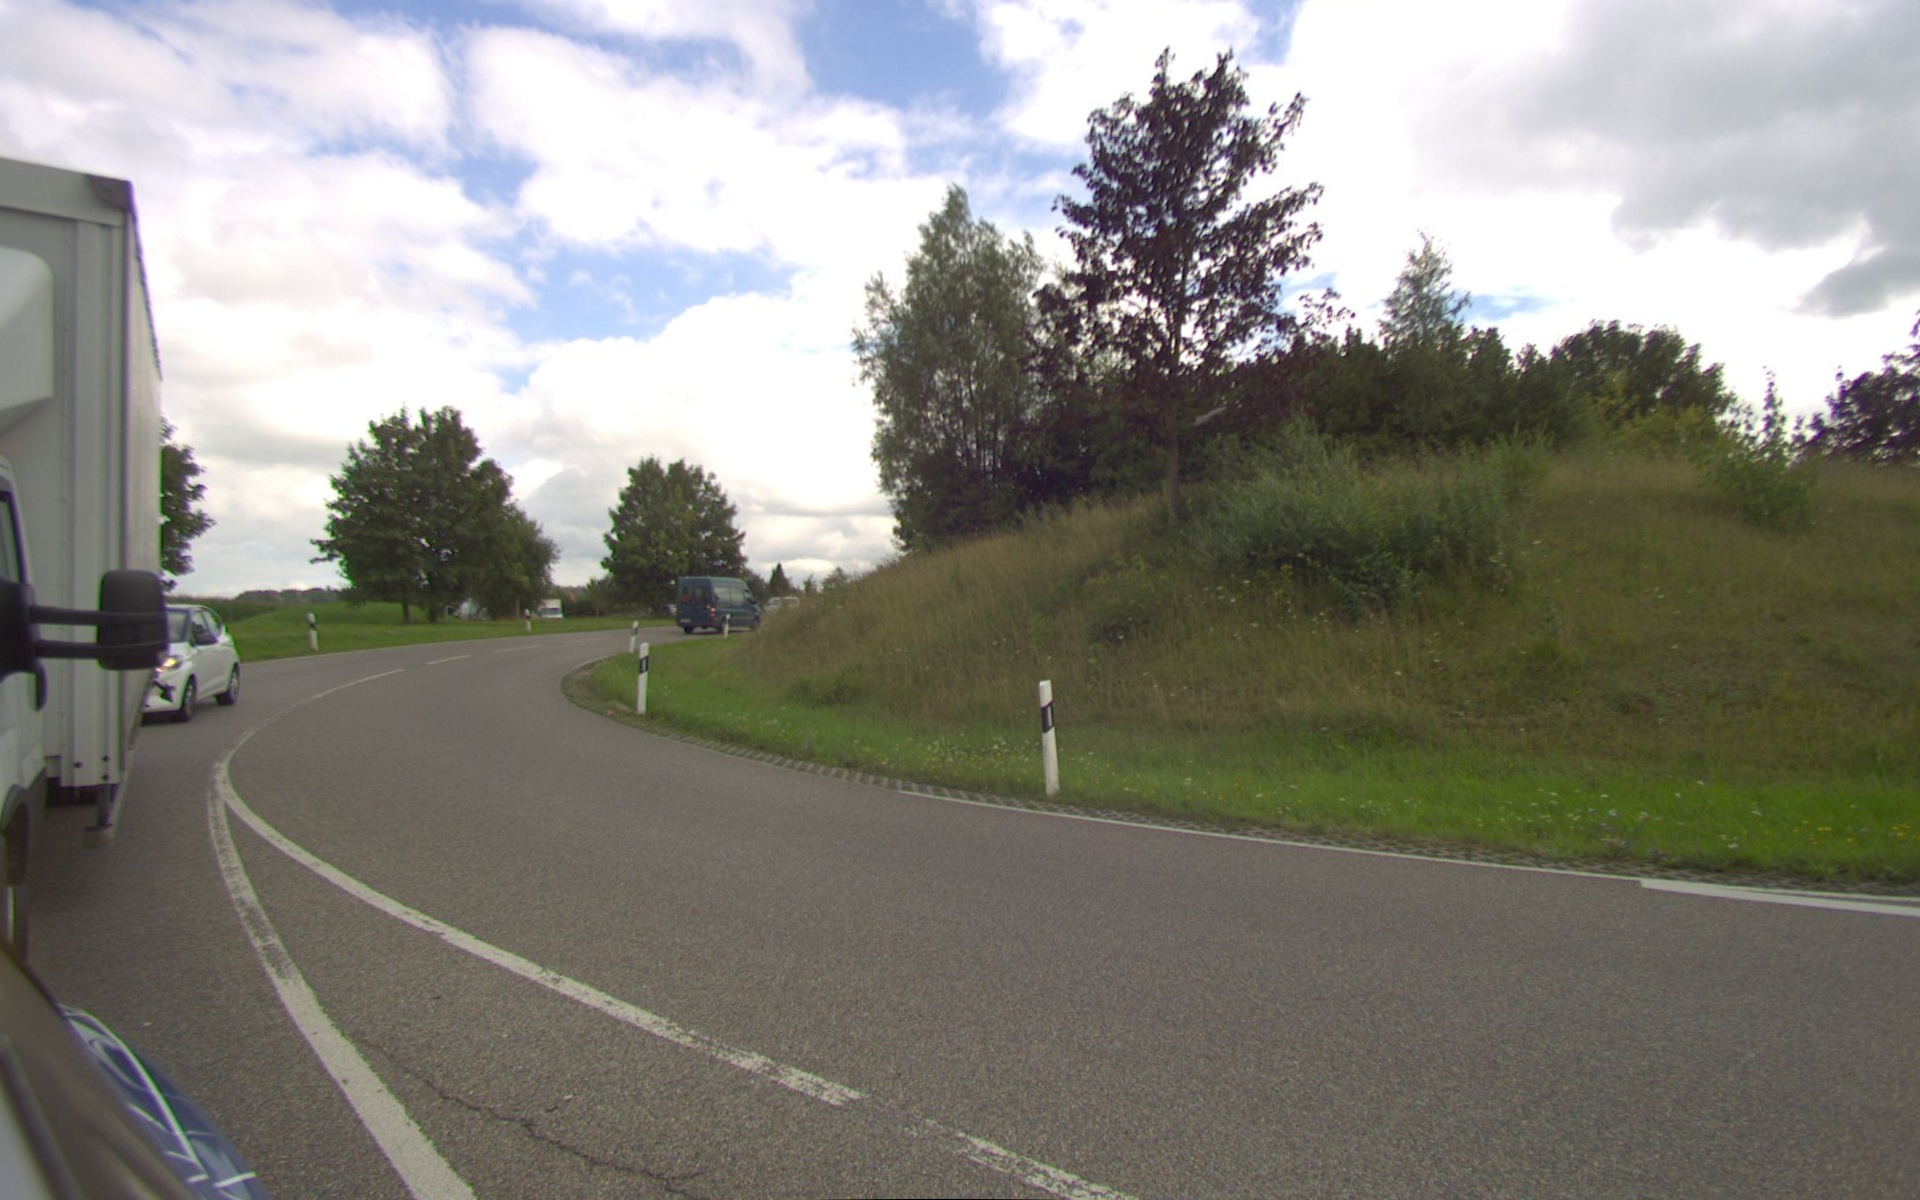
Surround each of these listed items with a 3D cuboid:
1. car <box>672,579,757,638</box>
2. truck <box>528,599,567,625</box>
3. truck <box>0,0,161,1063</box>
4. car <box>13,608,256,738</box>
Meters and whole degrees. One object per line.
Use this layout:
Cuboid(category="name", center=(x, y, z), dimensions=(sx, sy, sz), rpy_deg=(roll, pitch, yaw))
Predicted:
Cuboid(category="car", center=(-11.488, 0.441, 47.810), dimensions=(1.978, 2.650, 5.104), rpy_deg=(0, -1, 11))
Cuboid(category="truck", center=(-40.836, 1.225, 99.982), dimensions=(2.254, 2.439, 6.398), rpy_deg=(-1, -1, -34))
Cuboid(category="truck", center=(-6.310, -0.491, 5.679), dimensions=(2.793, 3.792, 8.817), rpy_deg=(1, -2, -38))
Cuboid(category="car", center=(-11.208, 0.903, 14.060), dimensions=(1.721, 1.477, 4.013), rpy_deg=(-1, -1, -26))
